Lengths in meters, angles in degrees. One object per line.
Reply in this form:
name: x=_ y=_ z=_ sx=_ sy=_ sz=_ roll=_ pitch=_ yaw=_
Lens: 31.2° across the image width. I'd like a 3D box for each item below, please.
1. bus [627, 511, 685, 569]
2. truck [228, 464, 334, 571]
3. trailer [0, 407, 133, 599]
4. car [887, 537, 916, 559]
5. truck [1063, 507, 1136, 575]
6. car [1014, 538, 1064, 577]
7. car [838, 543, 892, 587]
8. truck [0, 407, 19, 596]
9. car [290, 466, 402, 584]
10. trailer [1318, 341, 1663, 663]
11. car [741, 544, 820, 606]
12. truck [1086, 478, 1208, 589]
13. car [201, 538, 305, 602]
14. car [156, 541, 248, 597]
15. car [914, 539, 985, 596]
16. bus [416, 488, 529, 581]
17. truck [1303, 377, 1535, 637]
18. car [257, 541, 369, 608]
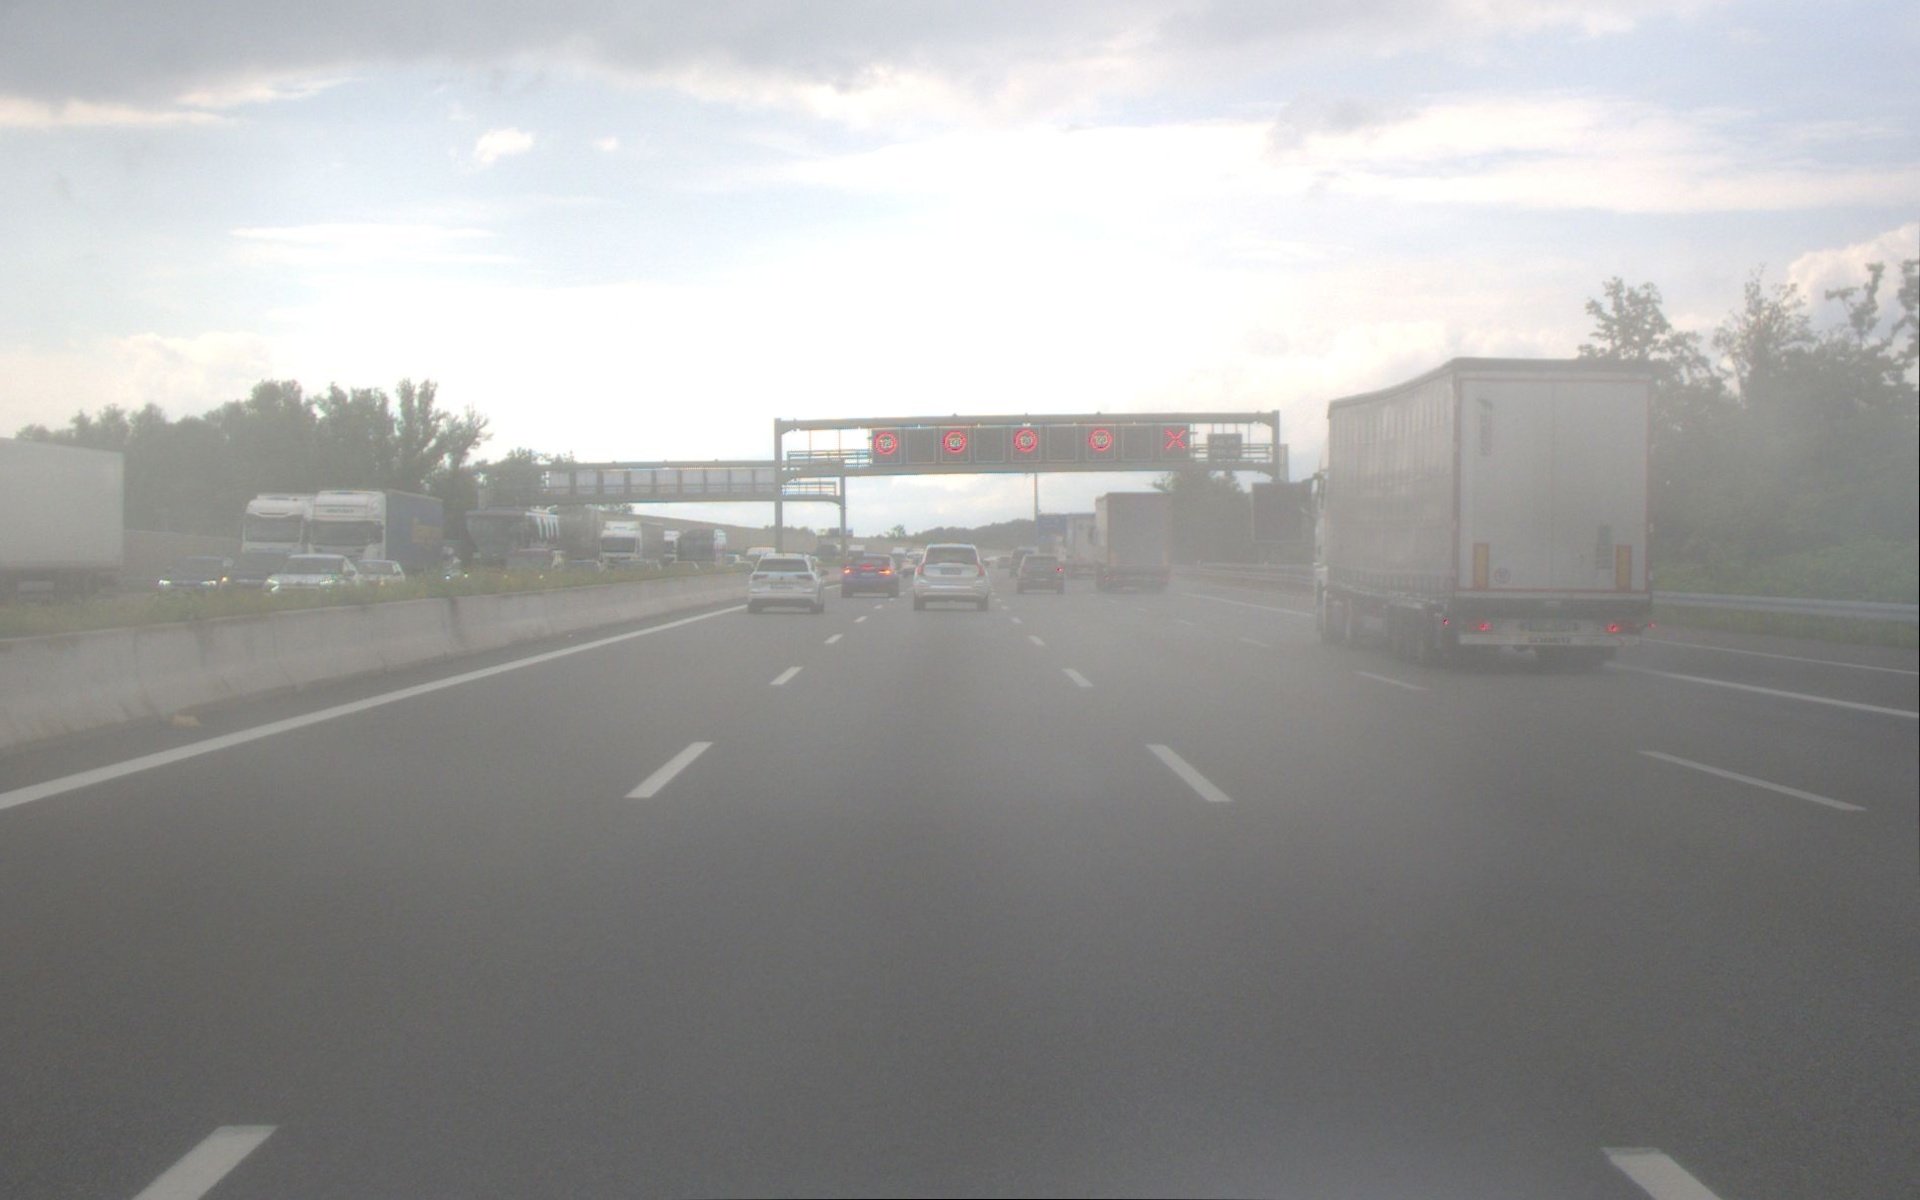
bus: x=-19.713 y=-3.854 z=223.492 sx=2.654 sy=3.667 sz=10.634 roll=0 pitch=0 yaw=1
truck: x=-26.933 y=-3.256 z=136.667 sx=2.900 sy=4.102 sz=6.623 roll=1 pitch=1 yaw=-1
trailer: x=-22.304 y=-2.176 z=78.090 sx=3.660 sy=4.094 sz=13.399 roll=1 pitch=1 yaw=0
car: x=-3.810 y=-3.404 z=225.364 sx=1.772 sy=1.436 sz=4.055 roll=1 pitch=1 yaw=0
truck: x=8.956 y=-3.782 z=222.332 sx=4.244 sy=4.162 sz=11.989 roll=1 pitch=1 yaw=0
car: x=3.045 y=-1.659 z=132.832 sx=1.836 sy=1.436 sz=4.055 roll=1 pitch=1 yaw=0
car: x=-3.208 y=-1.210 z=116.642 sx=1.772 sy=1.436 sz=4.056 roll=1 pitch=1 yaw=-1
truck: x=-22.388 y=-2.126 z=71.693 sx=3.660 sy=4.034 sz=6.524 roll=1 pitch=1 yaw=0
car: x=-22.260 y=-2.695 z=124.880 sx=2.982 sy=4.135 sz=6.043 roll=1 pitch=1 yaw=-1
trailer: x=7.389 y=-1.361 z=50.175 sx=2.961 sy=4.006 sz=14.118 roll=1 pitch=1 yaw=1
car: x=-4.360 y=-0.634 z=83.865 sx=1.772 sy=1.436 sz=3.874 roll=1 pitch=1 yaw=-1
truck: x=7.651 y=-2.725 z=142.605 sx=4.180 sy=4.273 sz=12.613 roll=1 pitch=1 yaw=-1
car: x=-17.979 y=-0.785 z=87.546 sx=1.787 sy=1.557 sz=4.565 roll=1 pitch=1 yaw=-2
car: x=-22.562 y=-0.929 z=102.472 sx=1.787 sy=1.586 sz=4.386 roll=1 pitch=1 yaw=-1
car: x=-0.298 y=-0.877 z=90.307 sx=1.772 sy=1.436 sz=4.056 roll=1 pitch=1 yaw=-1
bus: x=-19.912 y=-2.650 z=141.185 sx=2.890 sy=3.599 sz=12.760 roll=1 pitch=1 yaw=-1
truck: x=7.458 y=-1.505 z=56.666 sx=2.961 sy=4.006 sz=6.589 roll=1 pitch=1 yaw=1
car: x=-14.671 y=-0.596 z=78.136 sx=1.787 sy=1.449 sz=4.565 roll=1 pitch=1 yaw=-2
